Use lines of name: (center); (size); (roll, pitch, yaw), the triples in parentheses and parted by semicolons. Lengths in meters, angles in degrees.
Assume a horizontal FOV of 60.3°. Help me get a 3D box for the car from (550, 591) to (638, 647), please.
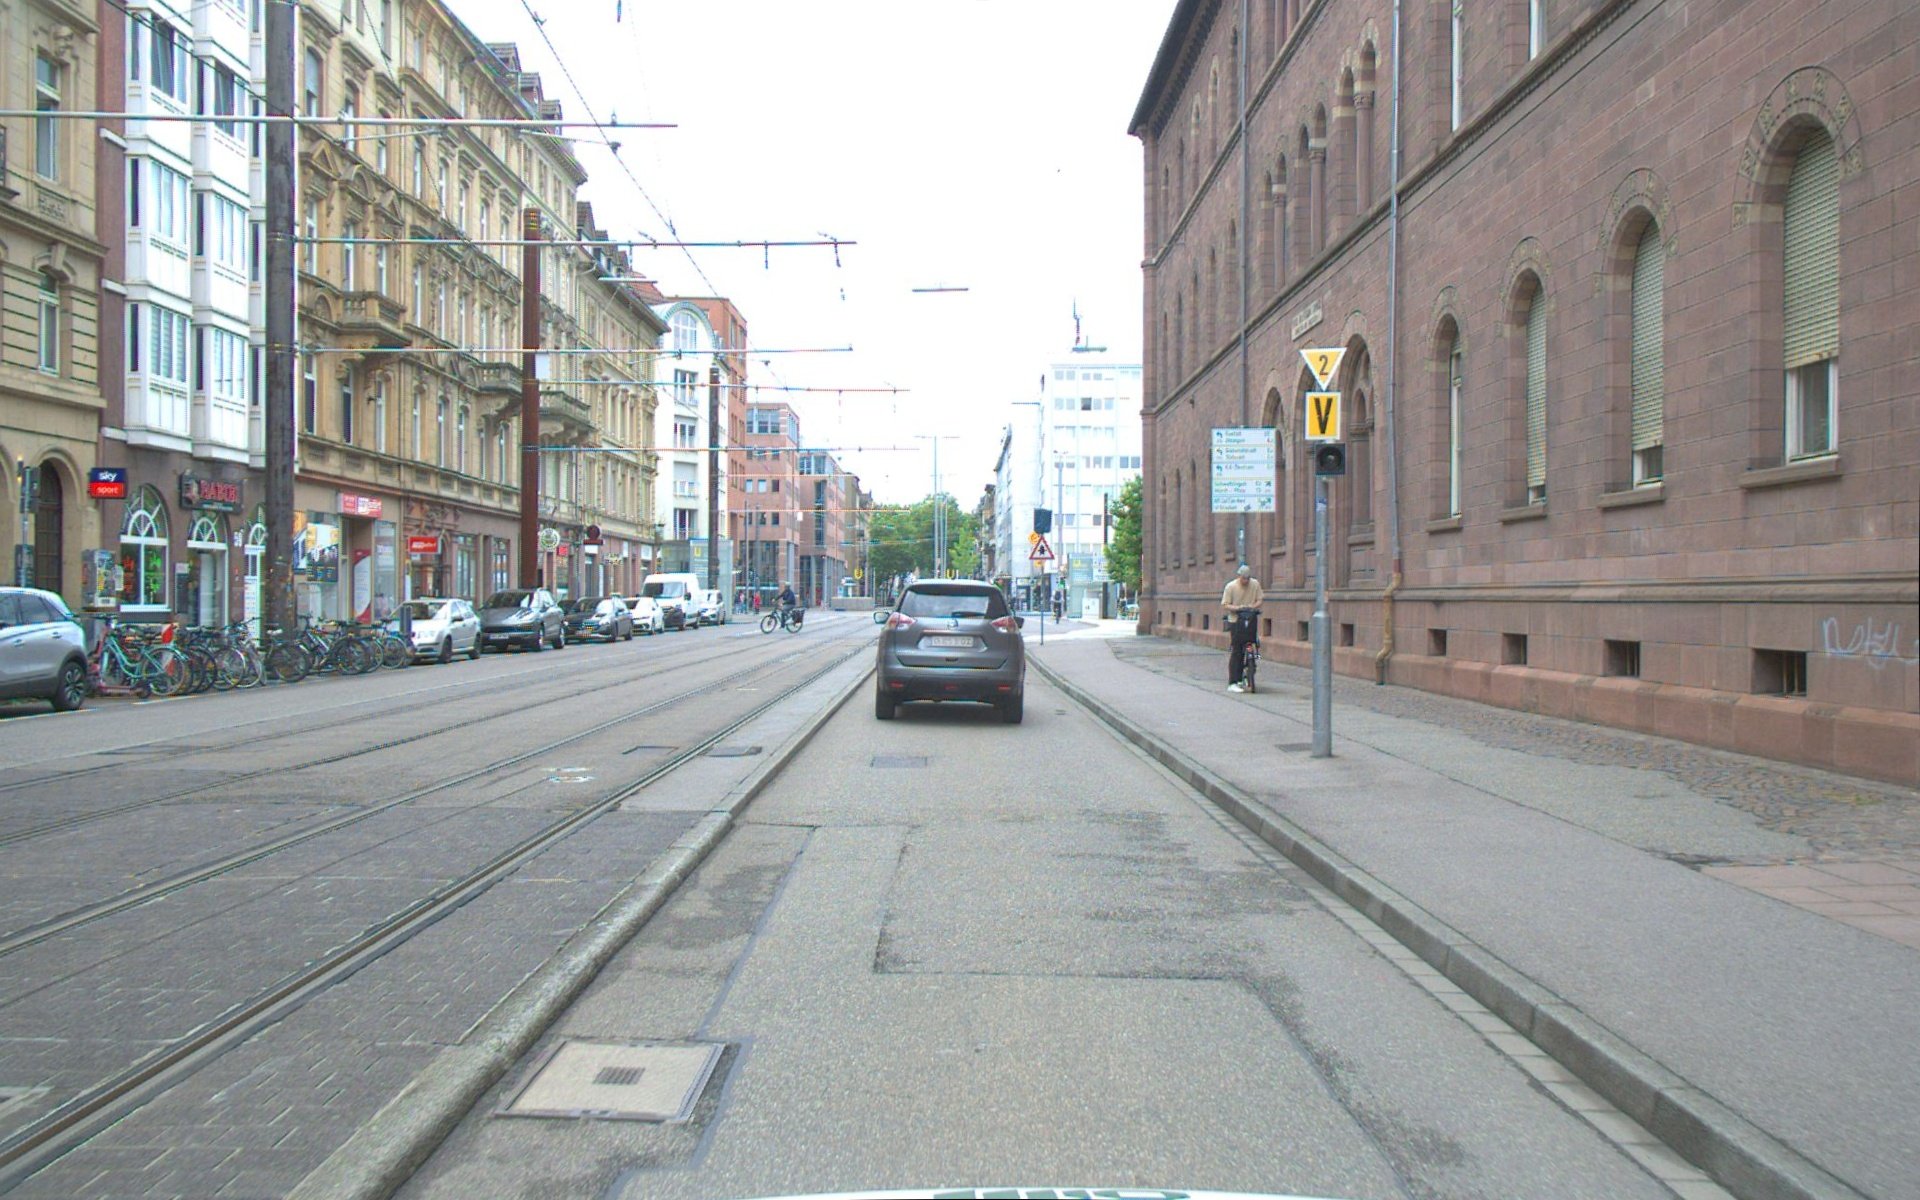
car: (-12.132, 0.607, 55.137); (1.881, 1.719, 5.050); (-2, 0, -2)

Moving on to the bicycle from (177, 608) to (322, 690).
bicycle: (-12.519, 0.856, 29.172); (2.235, 1.352, 0.666); (-2, 0, 0)

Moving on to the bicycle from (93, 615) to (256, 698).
bicycle: (-12.215, 0.876, 25.759); (2.235, 1.224, 0.540); (1, -2, 0)

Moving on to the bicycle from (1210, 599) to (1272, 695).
bicycle: (4.026, 0.651, 23.845); (0.436, 1.298, 2.226); (-2, 0, -1)

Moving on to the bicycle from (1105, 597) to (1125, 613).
bicycle: (10.027, 0.335, 107.105); (0.645, 0.995, 1.752); (0, 0, 28)

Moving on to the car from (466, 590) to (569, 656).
car: (-12.321, 0.607, 46.346); (1.777, 1.719, 5.028); (-1, 0, -3)

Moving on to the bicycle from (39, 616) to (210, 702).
bicycle: (-12.337, 0.860, 24.448); (2.235, 1.224, 0.547); (1, 0, 0)

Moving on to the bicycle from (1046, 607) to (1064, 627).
bicycle: (5.292, 0.937, 92.229); (0.883, 1.063, 3.278); (0, 0, 2)

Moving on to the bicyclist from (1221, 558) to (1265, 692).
bicyclist: (4.033, 0.351, 23.612); (0.518, 1.891, 0.450); (-1, -1, -1)

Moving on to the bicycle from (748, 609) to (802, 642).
bicycle: (-6.994, 0.961, 62.495); (2.000, 1.194, 0.585); (-2, -1, -9)

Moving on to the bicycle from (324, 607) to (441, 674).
bicycle: (-12.363, 0.866, 35.458); (2.235, 1.352, 0.666); (-2, 0, 0)

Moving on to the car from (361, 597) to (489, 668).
car: (-12.237, 0.713, 38.069); (1.708, 1.514, 3.919); (-1, 0, -1)

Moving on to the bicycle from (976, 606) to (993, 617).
bicycle: (2.445, 1.123, 167.600); (1.662, 1.084, 0.437); (1, -1, -2)

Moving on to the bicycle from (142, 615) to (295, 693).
bicycle: (-12.500, 0.901, 27.919); (2.235, 1.224, 0.666); (-2, 0, 0)

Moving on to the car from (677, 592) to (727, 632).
car: (-12.934, 0.596, 83.107); (1.864, 1.897, 4.518); (-2, 0, -2)

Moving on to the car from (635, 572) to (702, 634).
car: (-12.741, 0.150, 72.688); (2.011, 2.530, 5.664); (-2, 0, -2)

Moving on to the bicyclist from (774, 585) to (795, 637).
bicyclist: (-6.619, 0.411, 62.506); (0.632, 1.916, 1.028); (1, -1, 1)

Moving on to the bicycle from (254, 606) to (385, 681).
bicycle: (-12.379, 0.835, 31.997); (2.235, 1.352, 0.666); (-2, 0, 0)

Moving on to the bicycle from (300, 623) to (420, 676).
bicycle: (-12.383, 1.014, 34.179); (2.235, 1.059, 0.619); (0, 0, 0)

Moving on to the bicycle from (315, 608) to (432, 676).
bicycle: (-12.311, 0.876, 34.736); (2.235, 1.352, 0.521); (-2, 0, 0)

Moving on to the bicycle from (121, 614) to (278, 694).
bicycle: (-12.492, 0.880, 27.205); (2.235, 1.224, 0.666); (-2, 0, 0)

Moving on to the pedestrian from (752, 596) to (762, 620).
pedestrian: (-14.532, 0.594, 118.365); (0.707, 1.717, 0.660); (0, -2, -11)

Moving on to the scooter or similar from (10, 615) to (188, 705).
scooter or similar: (-12.384, 0.857, 23.812); (2.235, 1.224, 0.547); (1, 0, 0)

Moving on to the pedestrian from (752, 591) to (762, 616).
pedestrian: (-14.058, 0.217, 114.688); (0.648, 1.717, 0.720); (0, -2, -13)

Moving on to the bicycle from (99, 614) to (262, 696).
bicycle: (-12.440, 0.871, 26.430); (2.235, 1.224, 0.705); (-2, 0, 0)

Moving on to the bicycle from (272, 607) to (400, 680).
bicycle: (-12.375, 0.853, 32.826); (2.235, 1.352, 0.666); (-2, 0, 0)

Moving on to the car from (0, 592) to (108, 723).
car: (-12.269, 0.698, 20.076); (1.708, 1.560, 4.224); (-1, 0, -1)

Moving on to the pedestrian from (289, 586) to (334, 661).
pedestrian: (-15.855, 0.579, 40.429); (0.642, 1.813, 0.782); (1, -1, 36)

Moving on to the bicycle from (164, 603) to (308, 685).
bicycle: (-12.481, 0.753, 28.542); (2.235, 1.317, 0.448); (2, 0, 0)

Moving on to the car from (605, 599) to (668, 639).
car: (-12.647, 0.731, 64.881); (1.735, 1.447, 4.163); (-2, 0, -2)

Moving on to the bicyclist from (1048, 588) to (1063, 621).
bicyclist: (5.327, 0.259, 92.256); (0.817, 1.844, 0.878); (1, -1, 2)

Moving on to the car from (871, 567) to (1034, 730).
car: (-0.074, 0.516, 21.345); (1.825, 1.805, 4.567); (2, 1, 0)

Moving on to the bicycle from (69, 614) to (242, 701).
bicycle: (-12.205, 0.869, 25.135); (2.235, 1.224, 0.705); (-2, 0, 0)
